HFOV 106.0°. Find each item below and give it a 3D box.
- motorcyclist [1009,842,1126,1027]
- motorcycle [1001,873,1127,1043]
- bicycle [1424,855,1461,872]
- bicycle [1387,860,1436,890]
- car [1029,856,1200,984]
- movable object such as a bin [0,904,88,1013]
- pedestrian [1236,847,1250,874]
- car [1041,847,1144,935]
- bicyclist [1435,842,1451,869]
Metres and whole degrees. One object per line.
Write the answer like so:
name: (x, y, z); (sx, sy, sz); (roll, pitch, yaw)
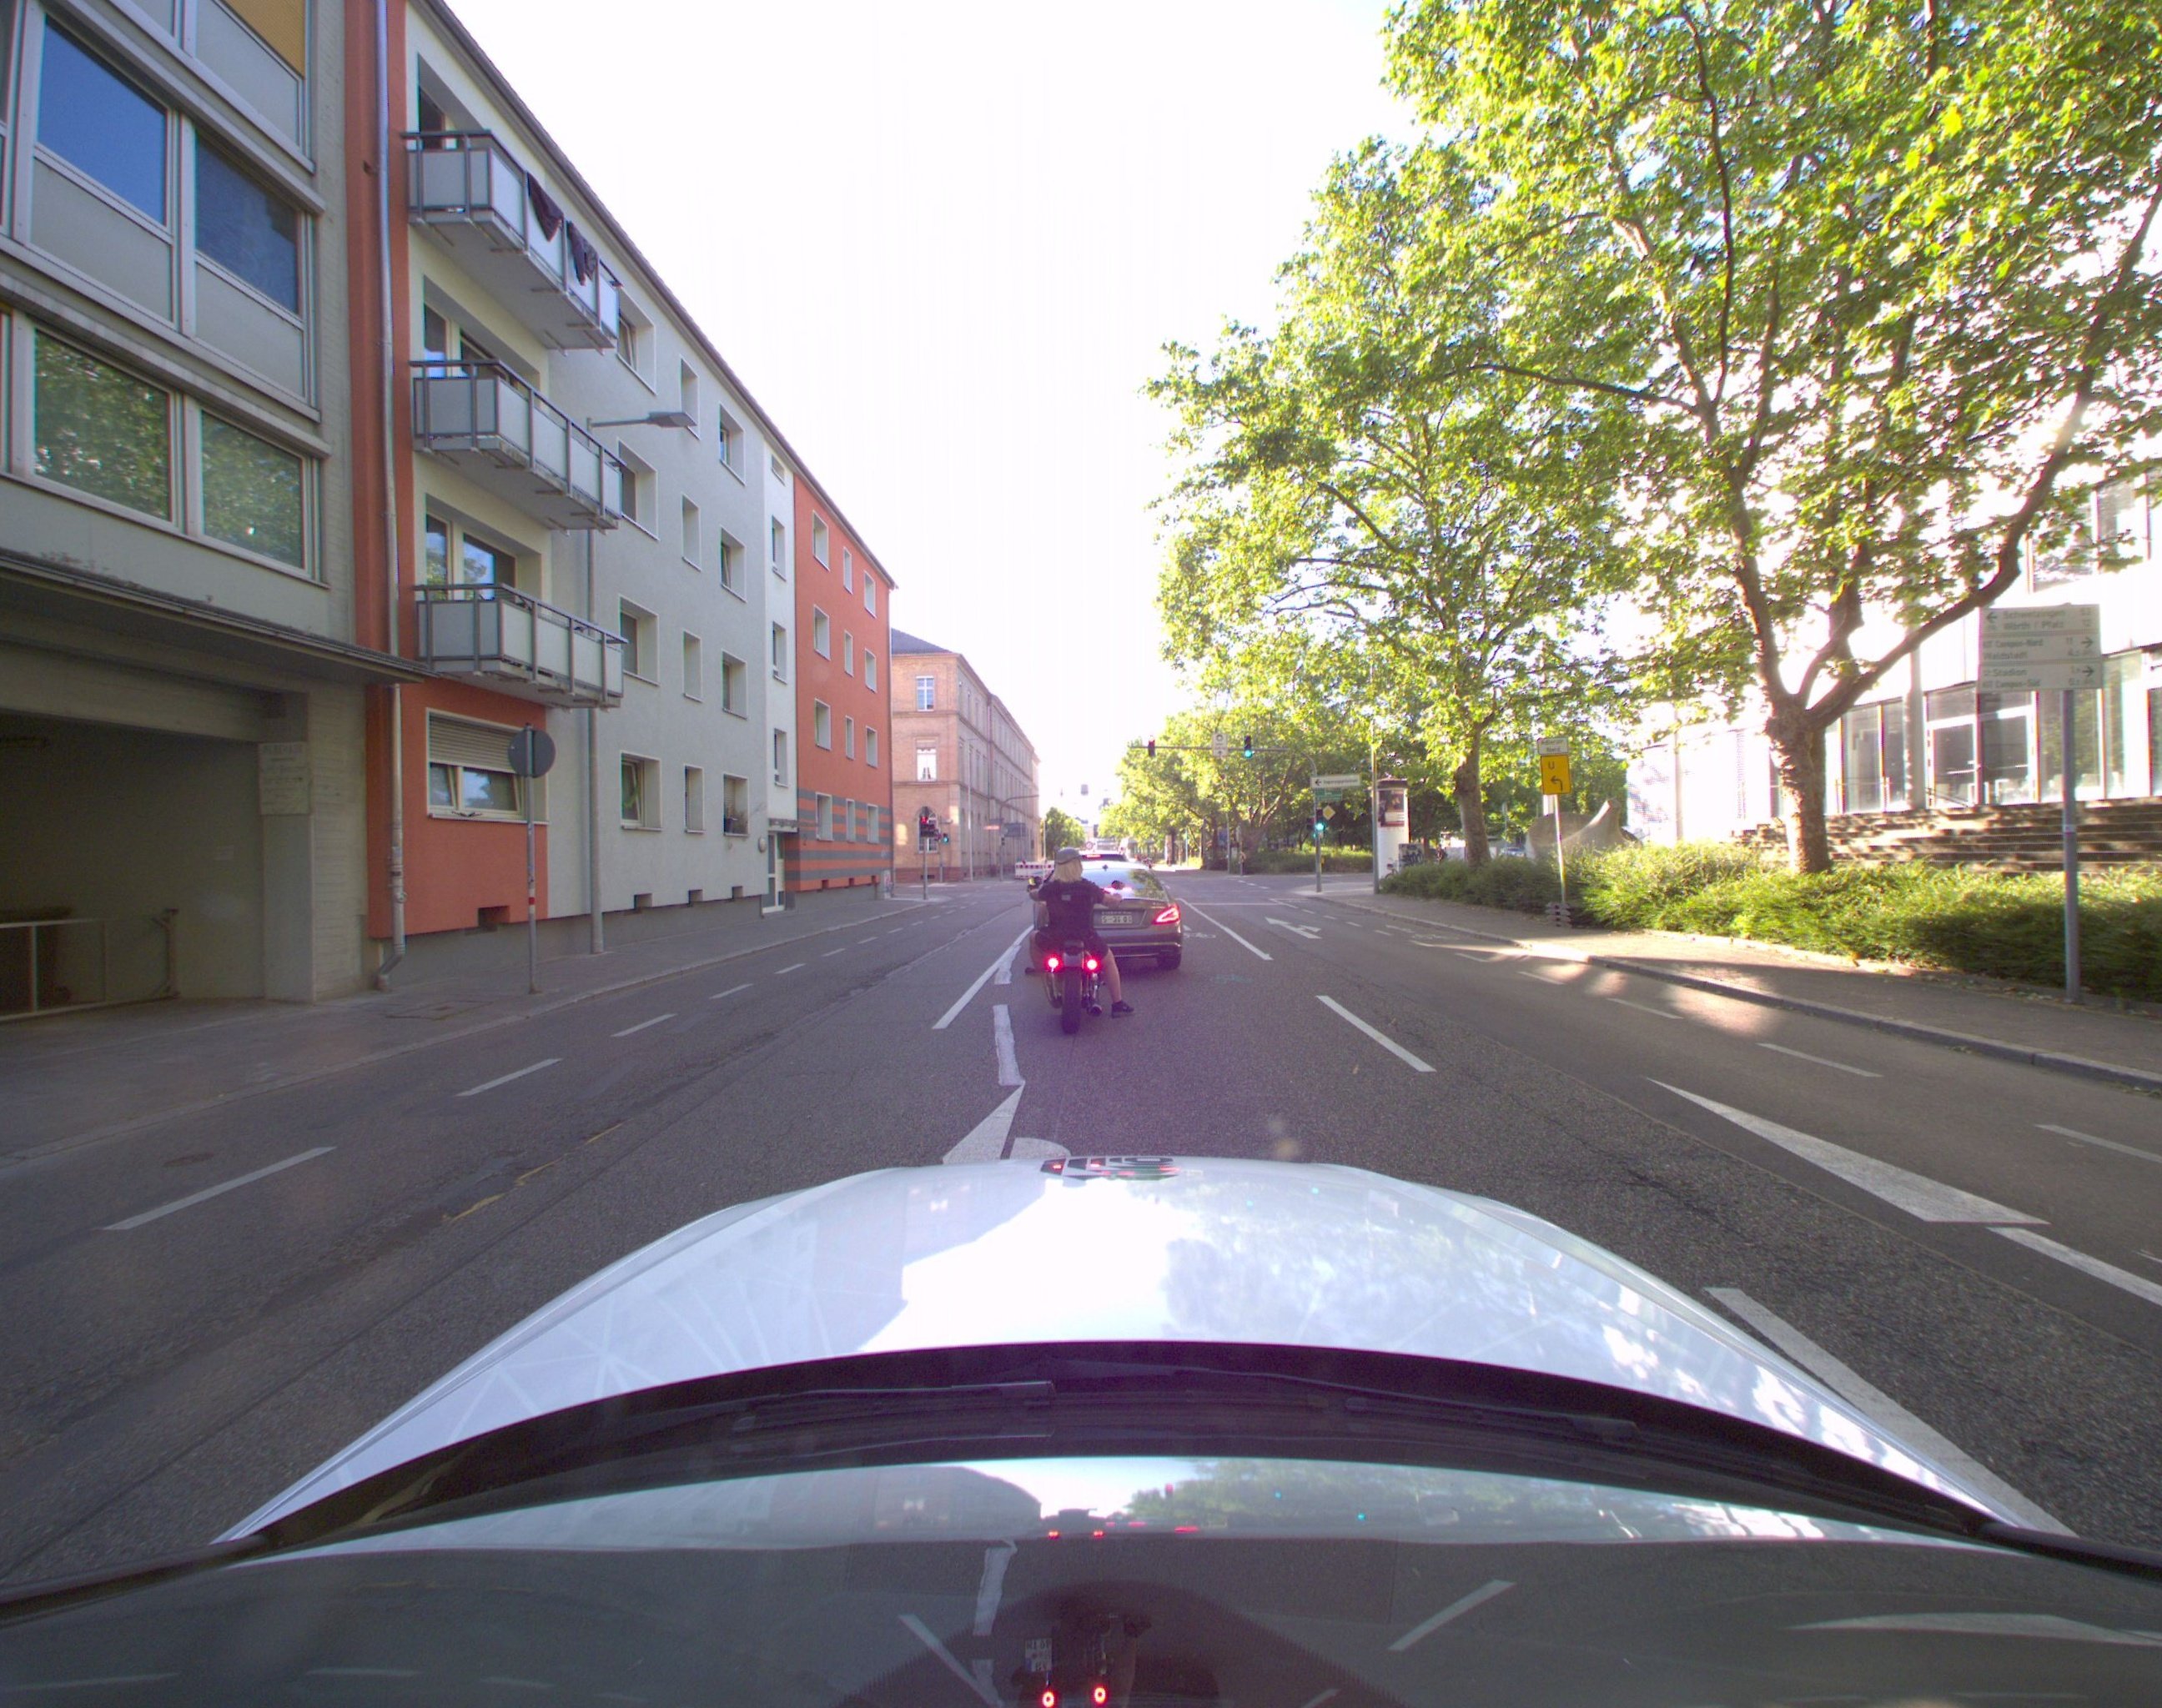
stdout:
motorcyclist: (-0.099, 0.693, 7.635); (0.977, 1.578, 1.249); (-1, 0, 1)
motorcycle: (-0.097, 0.859, 7.695); (0.977, 1.275, 2.408); (-1, 0, 2)
bicycle: (21.276, 0.571, 47.933); (1.907, 0.980, 0.603); (0, -1, 7)
bicycle: (11.075, 0.713, 27.327); (1.475, 0.980, 0.300); (0, -1, 7)
car: (0.259, 0.774, 11.749); (1.867, 1.444, 4.421); (-1, 0, -6)
movable object such as a bin: (-11.293, 1.093, 8.651); (0.639, 1.065, 0.675); (-1, 0, 1)
pedestrian: (10.854, 0.453, 54.615); (0.620, 1.772, 0.672); (0, -1, -38)
car: (0.285, 0.727, 17.676); (1.986, 1.665, 4.001); (0, -1, 2)
bicyclist: (21.296, 0.097, 47.944); (0.726, 1.582, 0.598); (0, -1, 7)
